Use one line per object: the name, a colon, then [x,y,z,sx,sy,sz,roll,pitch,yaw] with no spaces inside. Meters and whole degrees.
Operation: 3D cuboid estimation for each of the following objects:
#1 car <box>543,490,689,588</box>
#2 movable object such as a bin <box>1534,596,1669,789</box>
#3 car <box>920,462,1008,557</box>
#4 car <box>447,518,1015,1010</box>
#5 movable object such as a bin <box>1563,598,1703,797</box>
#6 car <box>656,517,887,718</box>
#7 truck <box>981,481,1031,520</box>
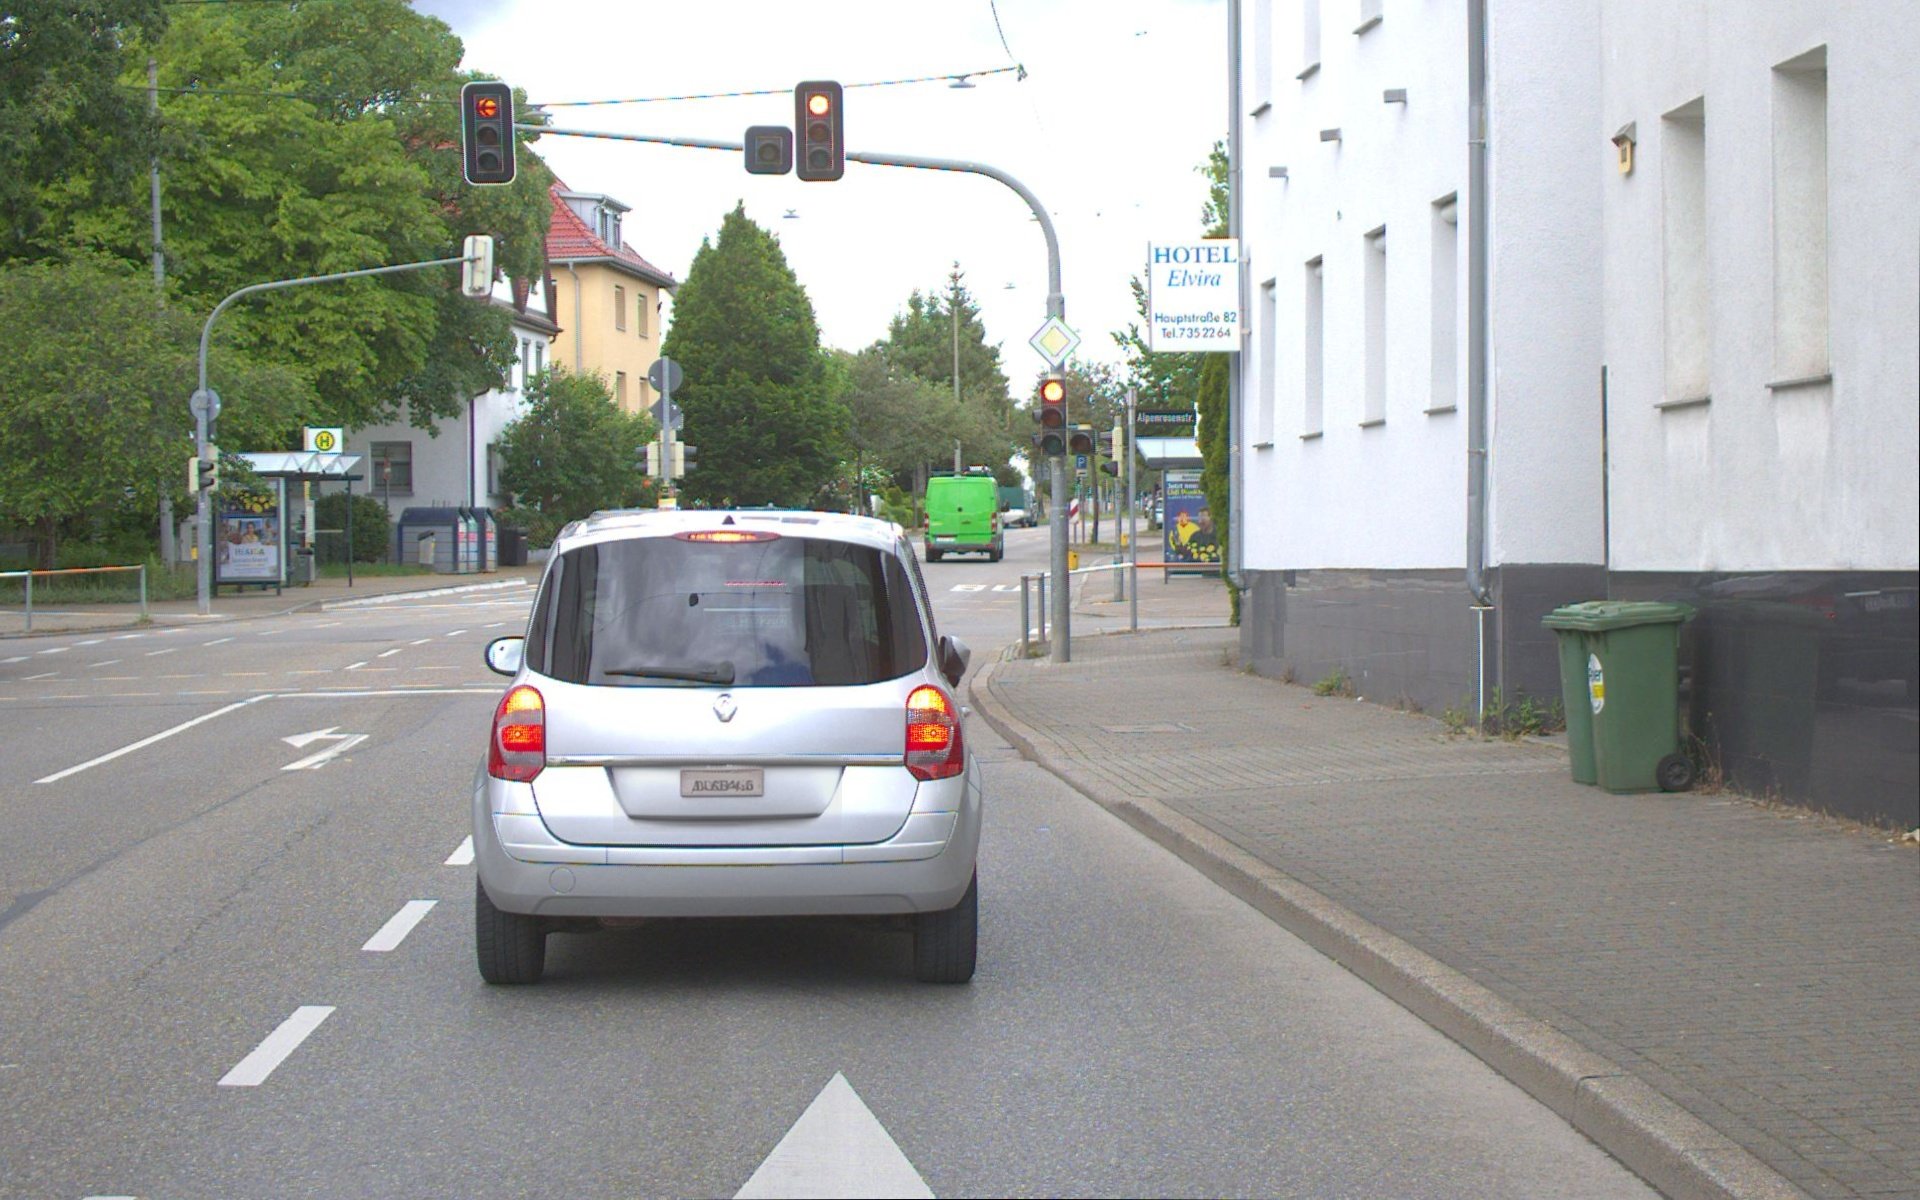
car: [-6.819,-1.231,68.524,1.927,1.767,3.999,-4,1,7]
movable object such as a bin: [3.280,0.467,17.598,0.540,0.938,0.487,-3,1,-3]
car: [0.139,-2.446,93.623,2.059,2.503,5.595,0,1,3]
car: [-0.834,0.477,12.683,1.755,1.525,4.001,0,1,-4]
movable object such as a bin: [3.334,0.477,17.064,0.540,0.938,0.487,-3,1,-3]
car: [-1.554,0.100,28.162,1.755,1.525,3.798,0,1,-4]
truck: [2.451,-5.236,181.366,2.102,2.007,5.746,0,1,6]
